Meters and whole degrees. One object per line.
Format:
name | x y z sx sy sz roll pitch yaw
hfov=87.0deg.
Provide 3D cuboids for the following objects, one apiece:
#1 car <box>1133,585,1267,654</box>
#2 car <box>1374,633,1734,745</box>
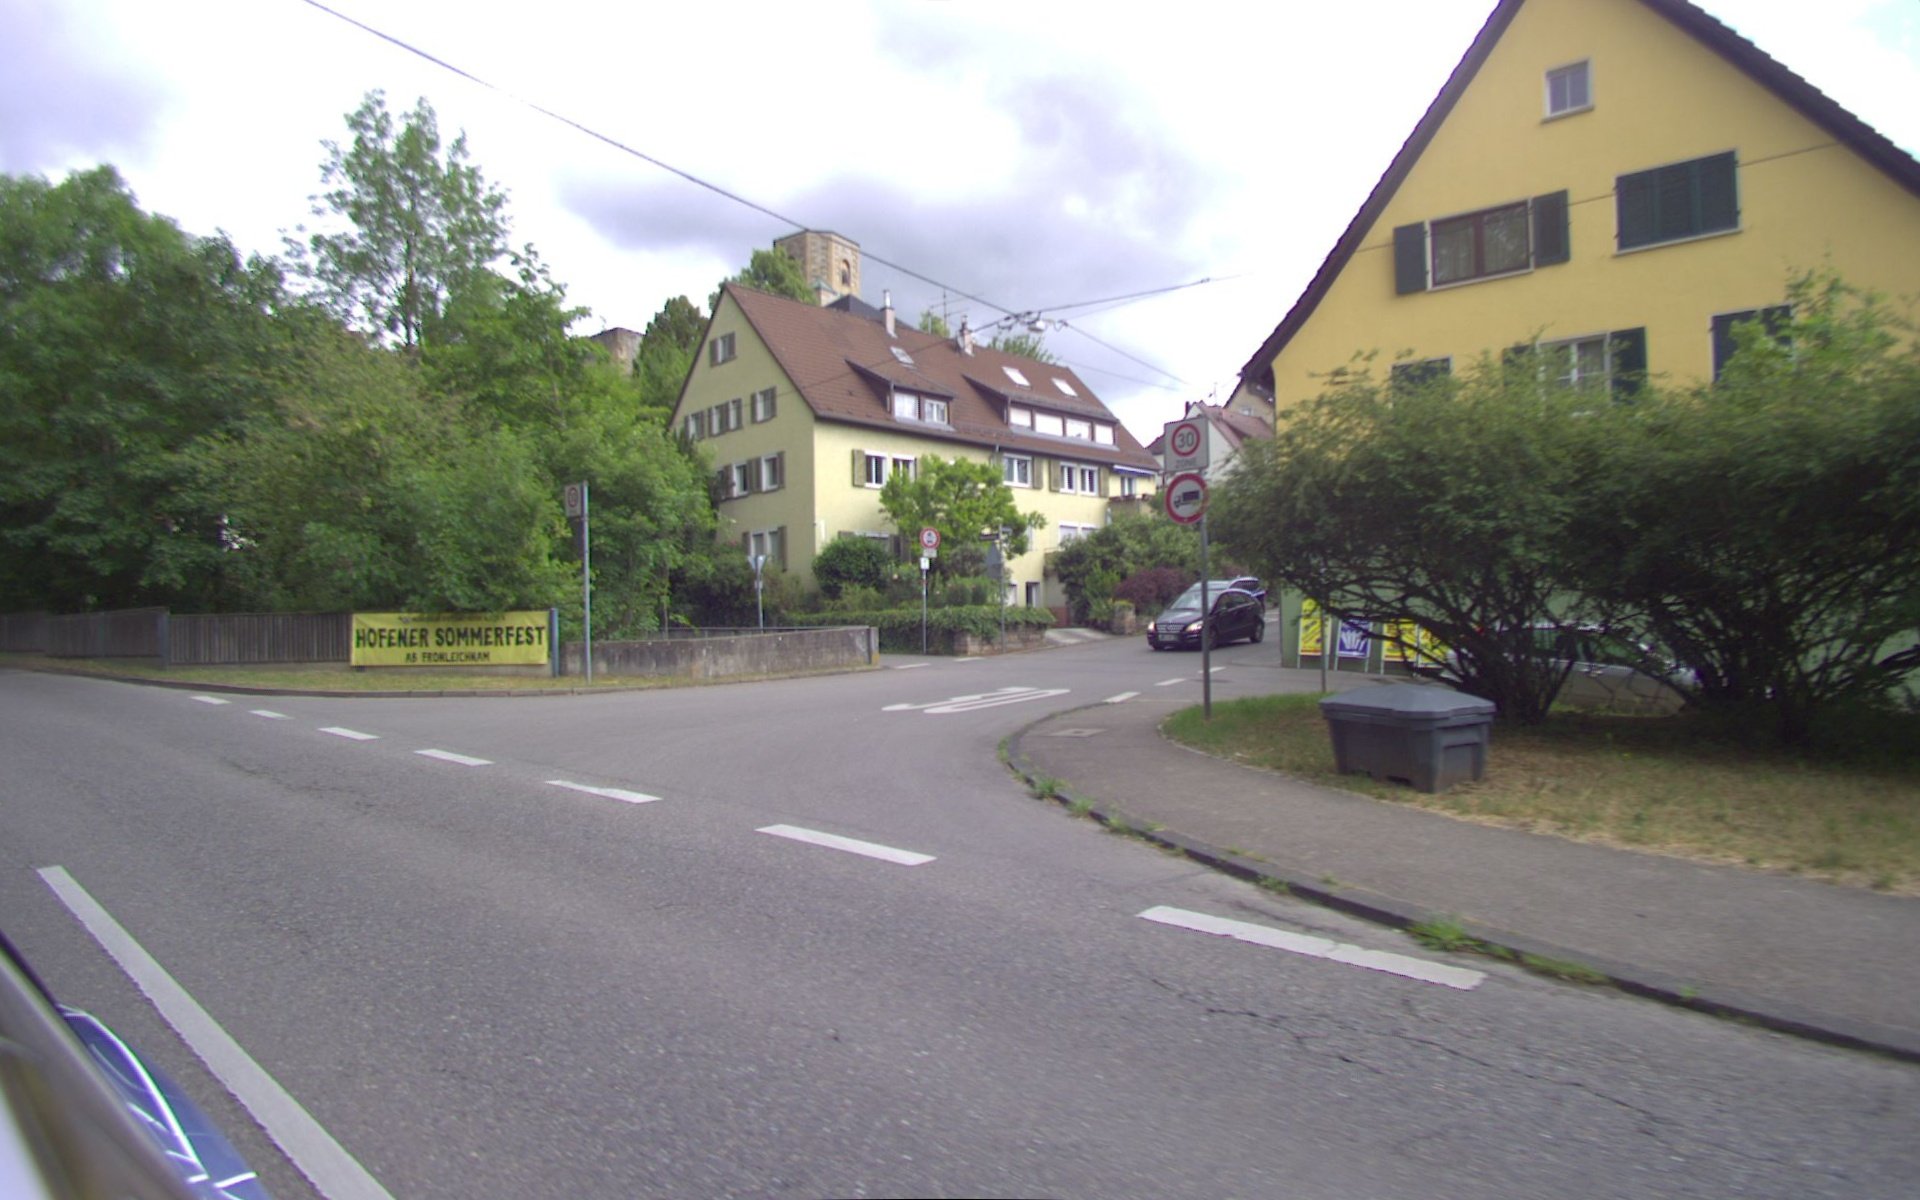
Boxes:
car | 6.673 0.497 27.910 1.944 1.608 3.947 -2 2 41
car | 8.234 1.156 14.263 4.149 1.355 1.628 -2 -3 41
